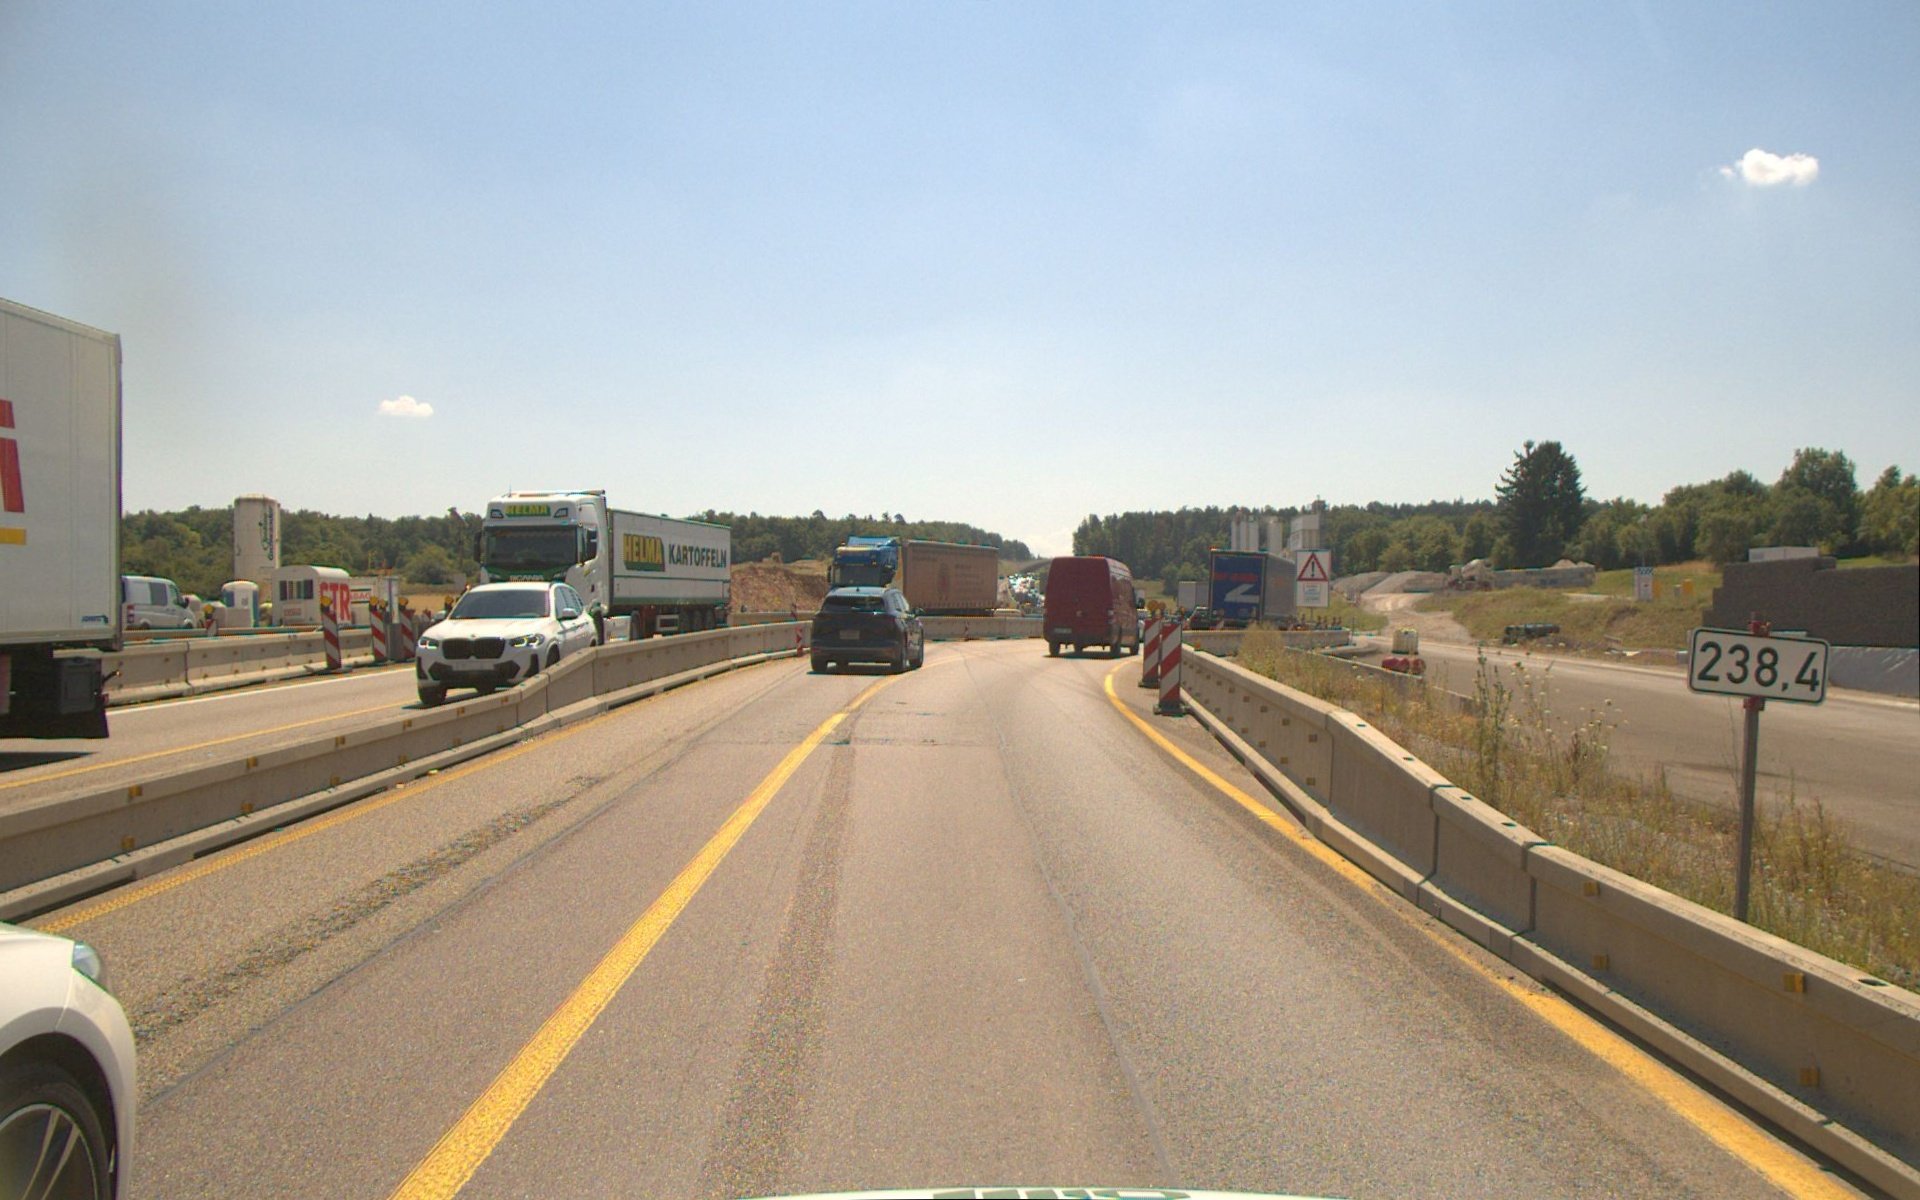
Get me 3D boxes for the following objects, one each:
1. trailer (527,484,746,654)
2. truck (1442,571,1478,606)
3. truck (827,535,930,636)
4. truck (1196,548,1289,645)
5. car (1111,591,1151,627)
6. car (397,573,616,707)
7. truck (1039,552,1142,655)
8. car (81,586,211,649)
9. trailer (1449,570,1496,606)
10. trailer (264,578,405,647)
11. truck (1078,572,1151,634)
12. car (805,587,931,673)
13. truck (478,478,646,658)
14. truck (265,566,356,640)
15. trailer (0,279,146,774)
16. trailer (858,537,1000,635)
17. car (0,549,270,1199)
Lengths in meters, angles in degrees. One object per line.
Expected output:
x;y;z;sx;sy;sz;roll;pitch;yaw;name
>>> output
-8.893;-0.769;47.546;2.303;4.224;12.508;1;0;7;trailer
61.000;-1.422;201.937;2.694;4.167;4.093;1;0;-8;truck
-3.416;-0.601;70.836;2.491;4.152;5.547;1;0;19;truck
13.230;-0.130;76.916;2.952;4.225;8.275;1;0;19;truck
7.916;0.408;76.429;1.763;1.607;4.003;1;0;6;car
-6.571;0.541;24.512;1.953;1.769;4.493;1;0;0;car
3.790;0.093;46.981;2.066;2.679;6.489;1;0;12;truck
-27.826;0.571;56.738;2.161;2.051;5.107;1;0;-4;car
61.473;-1.416;198.514;2.704;4.186;6.733;1;0;-8;trailer
-29.214;0.585;77.437;5.450;3.049;2.883;1;0;-1;trailer
9.058;0.198;96.126;2.525;3.440;6.929;1;0;20;truck
-1.737;0.555;32.469;1.757;1.561;3.934;1;0;7;car
-9.603;-0.727;40.426;2.396;4.078;5.080;1;0;5;truck
-28.415;0.143;72.497;2.293;3.096;4.264;1;0;-1;truck
-9.371;-0.592;9.846;2.758;4.165;13.120;1;1;-1;trailer
-1.211;-0.570;77.730;2.532;4.224;13.070;1;0;18;trailer
-2.392;0.683;1.171;1.759;1.561;5.071;1;0;-1;car
